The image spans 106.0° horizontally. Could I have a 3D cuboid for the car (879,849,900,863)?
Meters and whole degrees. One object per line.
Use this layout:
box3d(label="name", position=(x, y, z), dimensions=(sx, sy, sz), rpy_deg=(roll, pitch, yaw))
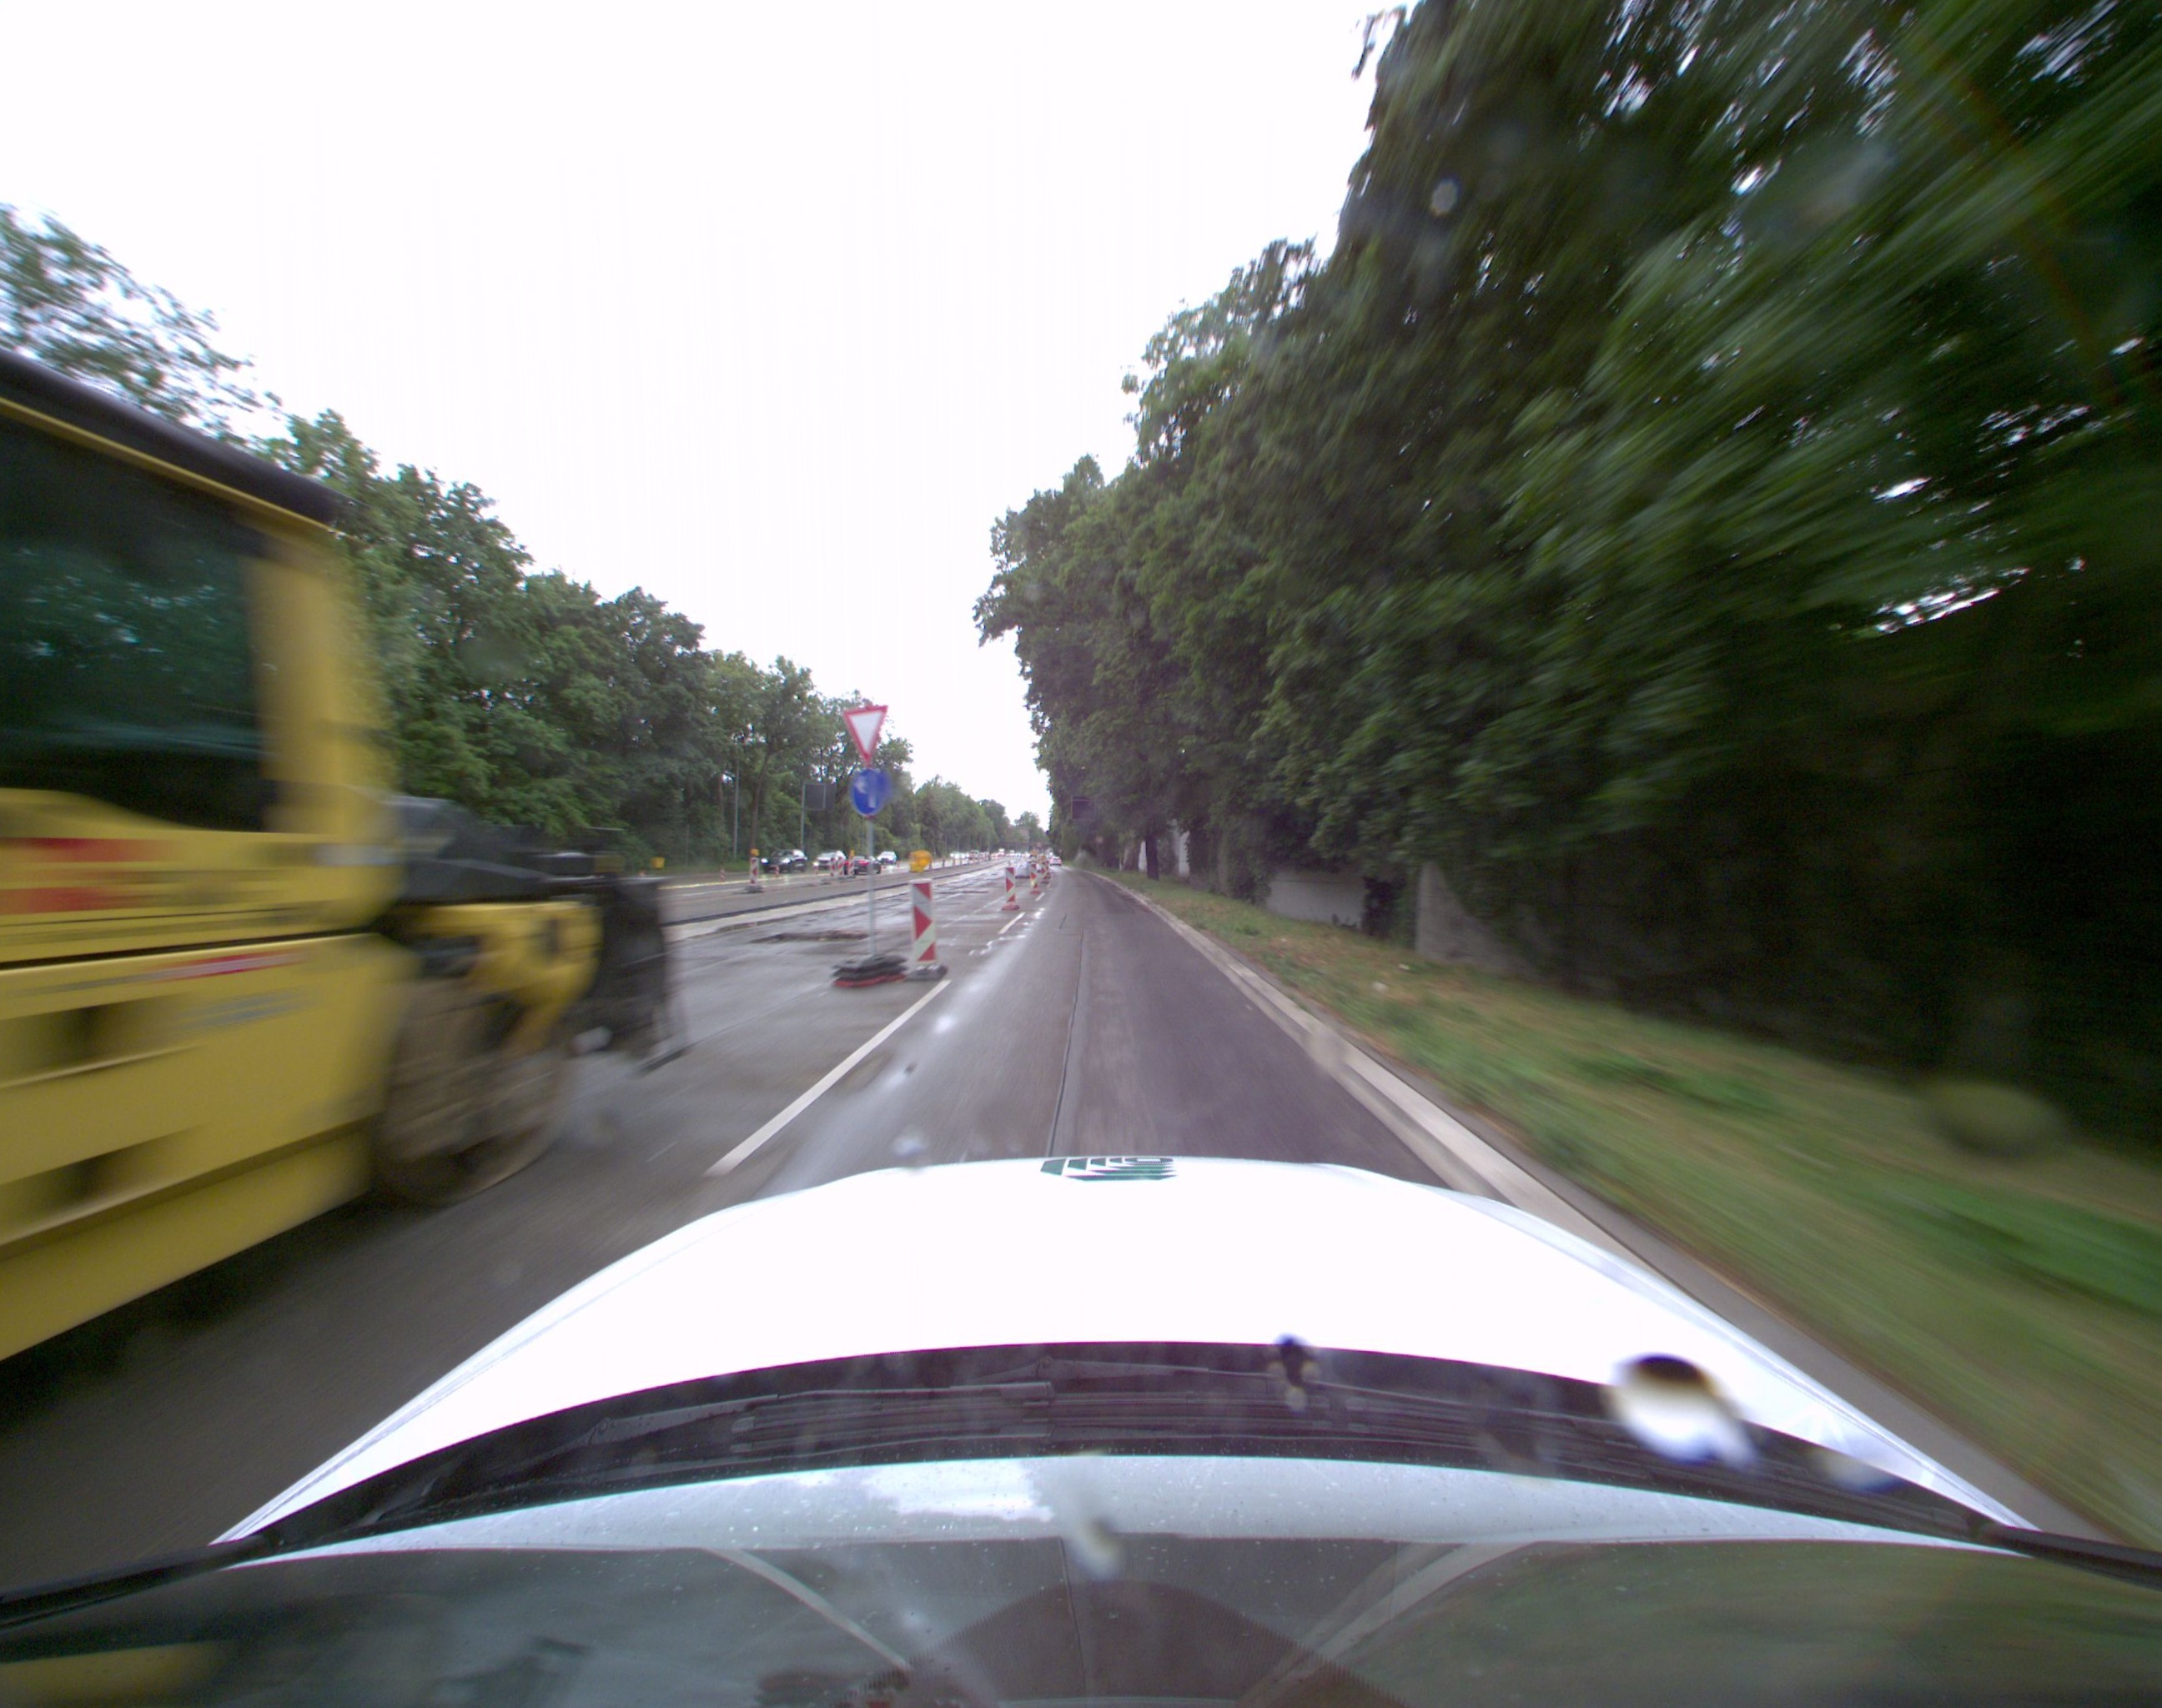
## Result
box3d(label="car", position=(-22.967, 0.217, 97.779), dimensions=(1.662, 1.541, 4.155), rpy_deg=(-2, 0, -2))

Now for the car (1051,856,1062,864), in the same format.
box3d(label="car", position=(-3.955, 0.946, 130.680), dimensions=(1.694, 1.336, 3.487), rpy_deg=(-1, 0, -3))

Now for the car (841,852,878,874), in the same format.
box3d(label="car", position=(-15.440, 0.610, 56.828), dimensions=(1.604, 1.404, 4.037), rpy_deg=(1, 0, -3))

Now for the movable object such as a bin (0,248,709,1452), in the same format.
box3d(label="movable object such as a bin", position=(-3.546, -0.007, 2.968), dimensions=(1.797, 2.985, 5.247), rpy_deg=(0, 0, 2))

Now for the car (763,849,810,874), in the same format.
box3d(label="car", position=(-21.004, 0.537, 58.248), dimensions=(1.772, 1.663, 4.911), rpy_deg=(-1, 0, -3))

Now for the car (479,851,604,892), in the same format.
box3d(label="car", position=(-20.755, 0.643, 31.609), dimensions=(1.779, 1.452, 4.679), rpy_deg=(0, 0, -1))

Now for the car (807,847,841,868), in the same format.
box3d(label="car", position=(-22.435, 0.310, 71.267), dimensions=(1.772, 1.751, 4.376), rpy_deg=(0, 0, -3))
